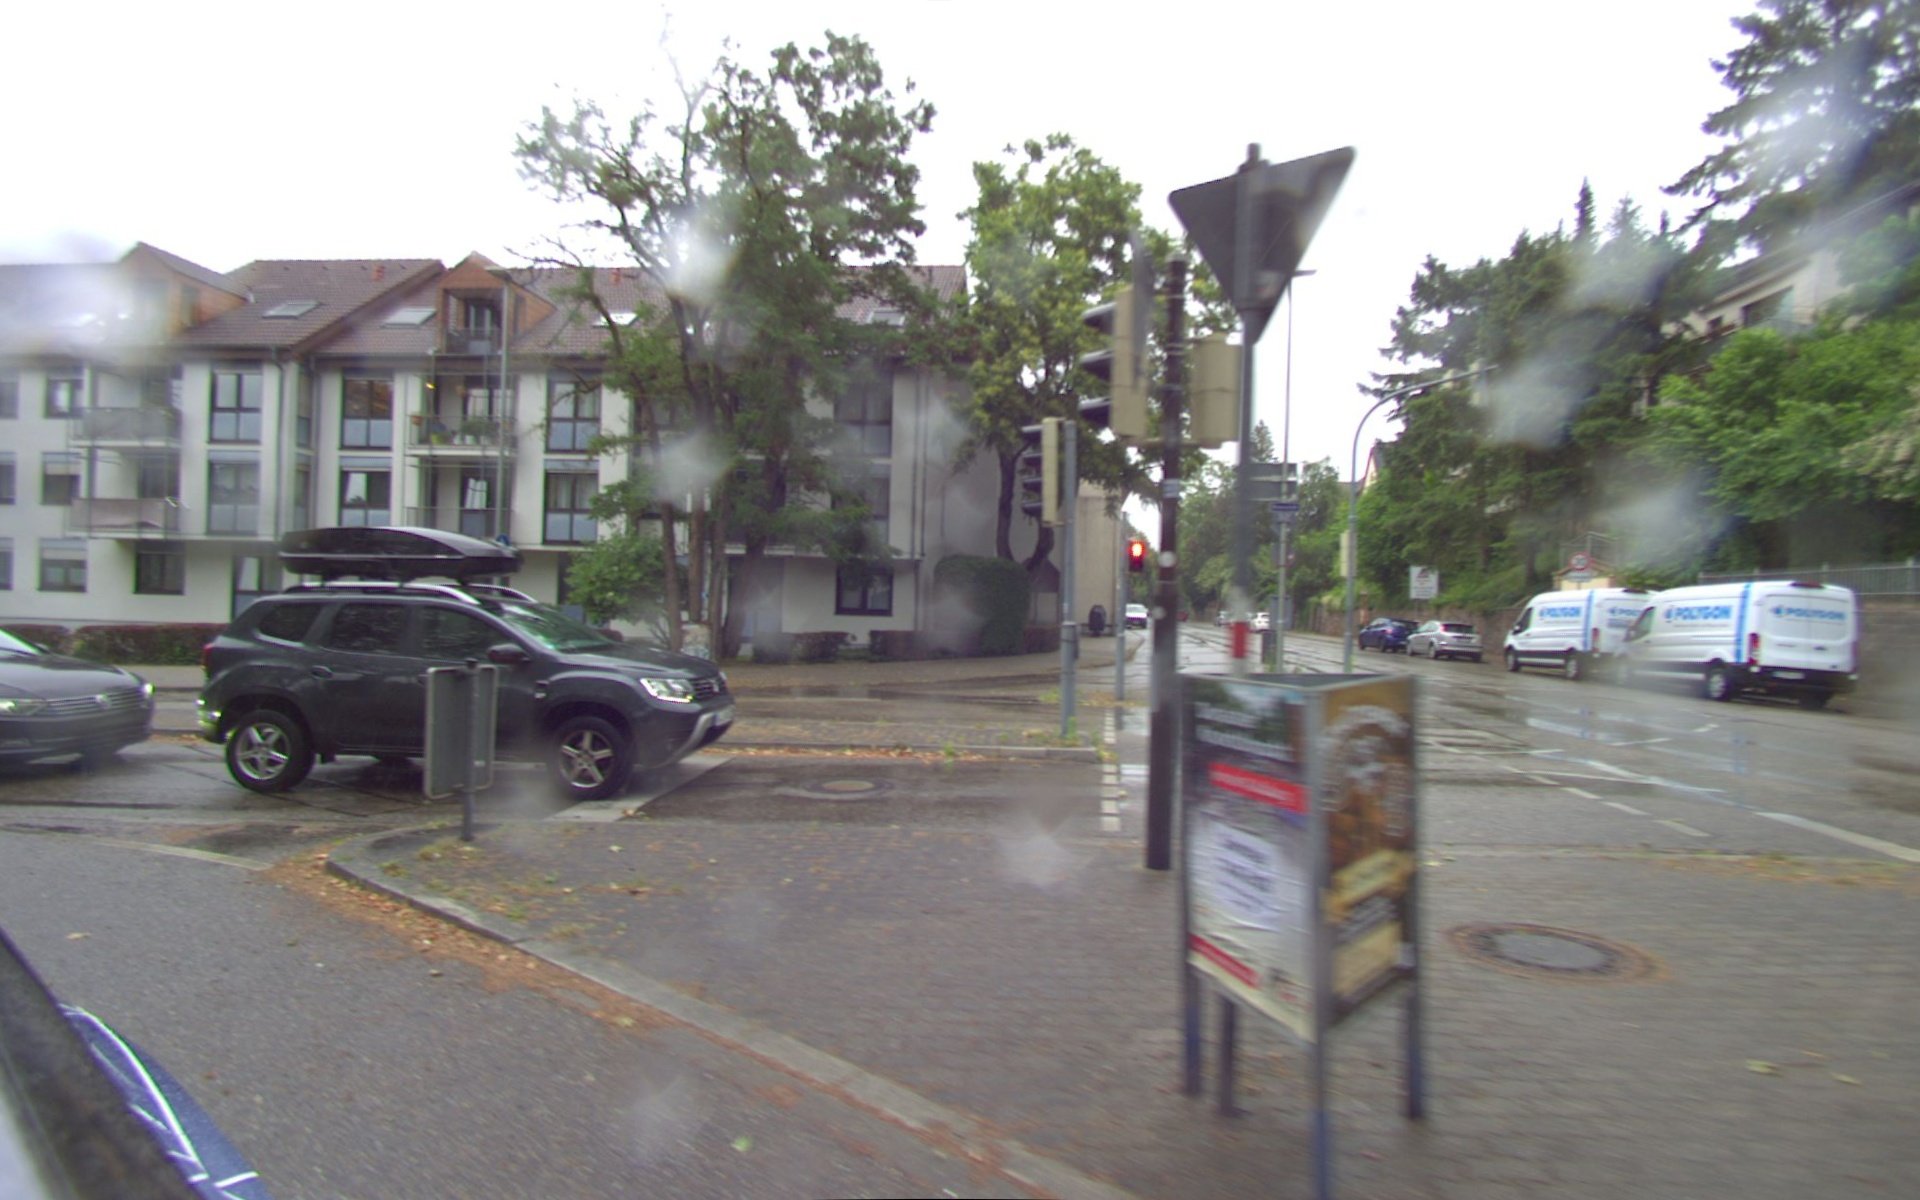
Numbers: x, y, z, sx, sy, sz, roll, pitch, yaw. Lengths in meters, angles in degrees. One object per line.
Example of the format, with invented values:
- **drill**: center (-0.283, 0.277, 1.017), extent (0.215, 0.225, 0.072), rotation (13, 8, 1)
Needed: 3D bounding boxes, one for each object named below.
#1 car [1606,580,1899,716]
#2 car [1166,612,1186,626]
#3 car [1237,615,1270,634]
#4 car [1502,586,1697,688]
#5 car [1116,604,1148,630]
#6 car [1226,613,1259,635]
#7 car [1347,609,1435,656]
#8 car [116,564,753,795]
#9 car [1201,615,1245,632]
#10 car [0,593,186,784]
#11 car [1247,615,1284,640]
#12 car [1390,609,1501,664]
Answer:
- **car**: center (16.927, 0.905, 22.161), extent (2.287, 2.513, 5.669), rotation (2, 0, 6)
- **car**: center (27.634, 2.389, 129.613), extent (1.902, 1.664, 3.976), rotation (2, -2, 3)
- **car**: center (22.438, 1.901, 77.496), extent (1.739, 1.409, 3.991), rotation (2, -2, 7)
- **car**: center (17.674, 0.928, 28.411), extent (2.287, 2.513, 5.571), rotation (2, 0, 6)
- **car**: center (13.582, 1.365, 80.197), extent (2.057, 1.973, 4.442), rotation (2, -2, 4)
- **car**: center (23.122, 1.959, 82.861), extent (1.904, 1.666, 3.992), rotation (2, -2, 6)
- **car**: center (19.538, 1.415, 46.179), extent (2.084, 1.867, 5.571), rotation (2, 0, 6)
- **car**: center (-4.214, 0.597, 8.574), extent (4.540, 1.724, 1.764), rotation (0, 0, 3)
- **car**: center (24.233, 2.178, 93.463), extent (3.845, 1.453, 1.808), rotation (2, -2, 15)
- **car**: center (-9.810, 0.713, 9.002), extent (4.599, 1.467, 1.835), rotation (-1, 2, 5)
- **car**: center (21.850, 2.007, 72.587), extent (1.796, 1.658, 3.992), rotation (2, -2, 6)
- **car**: center (18.859, 1.351, 39.625), extent (2.084, 1.867, 5.571), rotation (2, 0, 6)
